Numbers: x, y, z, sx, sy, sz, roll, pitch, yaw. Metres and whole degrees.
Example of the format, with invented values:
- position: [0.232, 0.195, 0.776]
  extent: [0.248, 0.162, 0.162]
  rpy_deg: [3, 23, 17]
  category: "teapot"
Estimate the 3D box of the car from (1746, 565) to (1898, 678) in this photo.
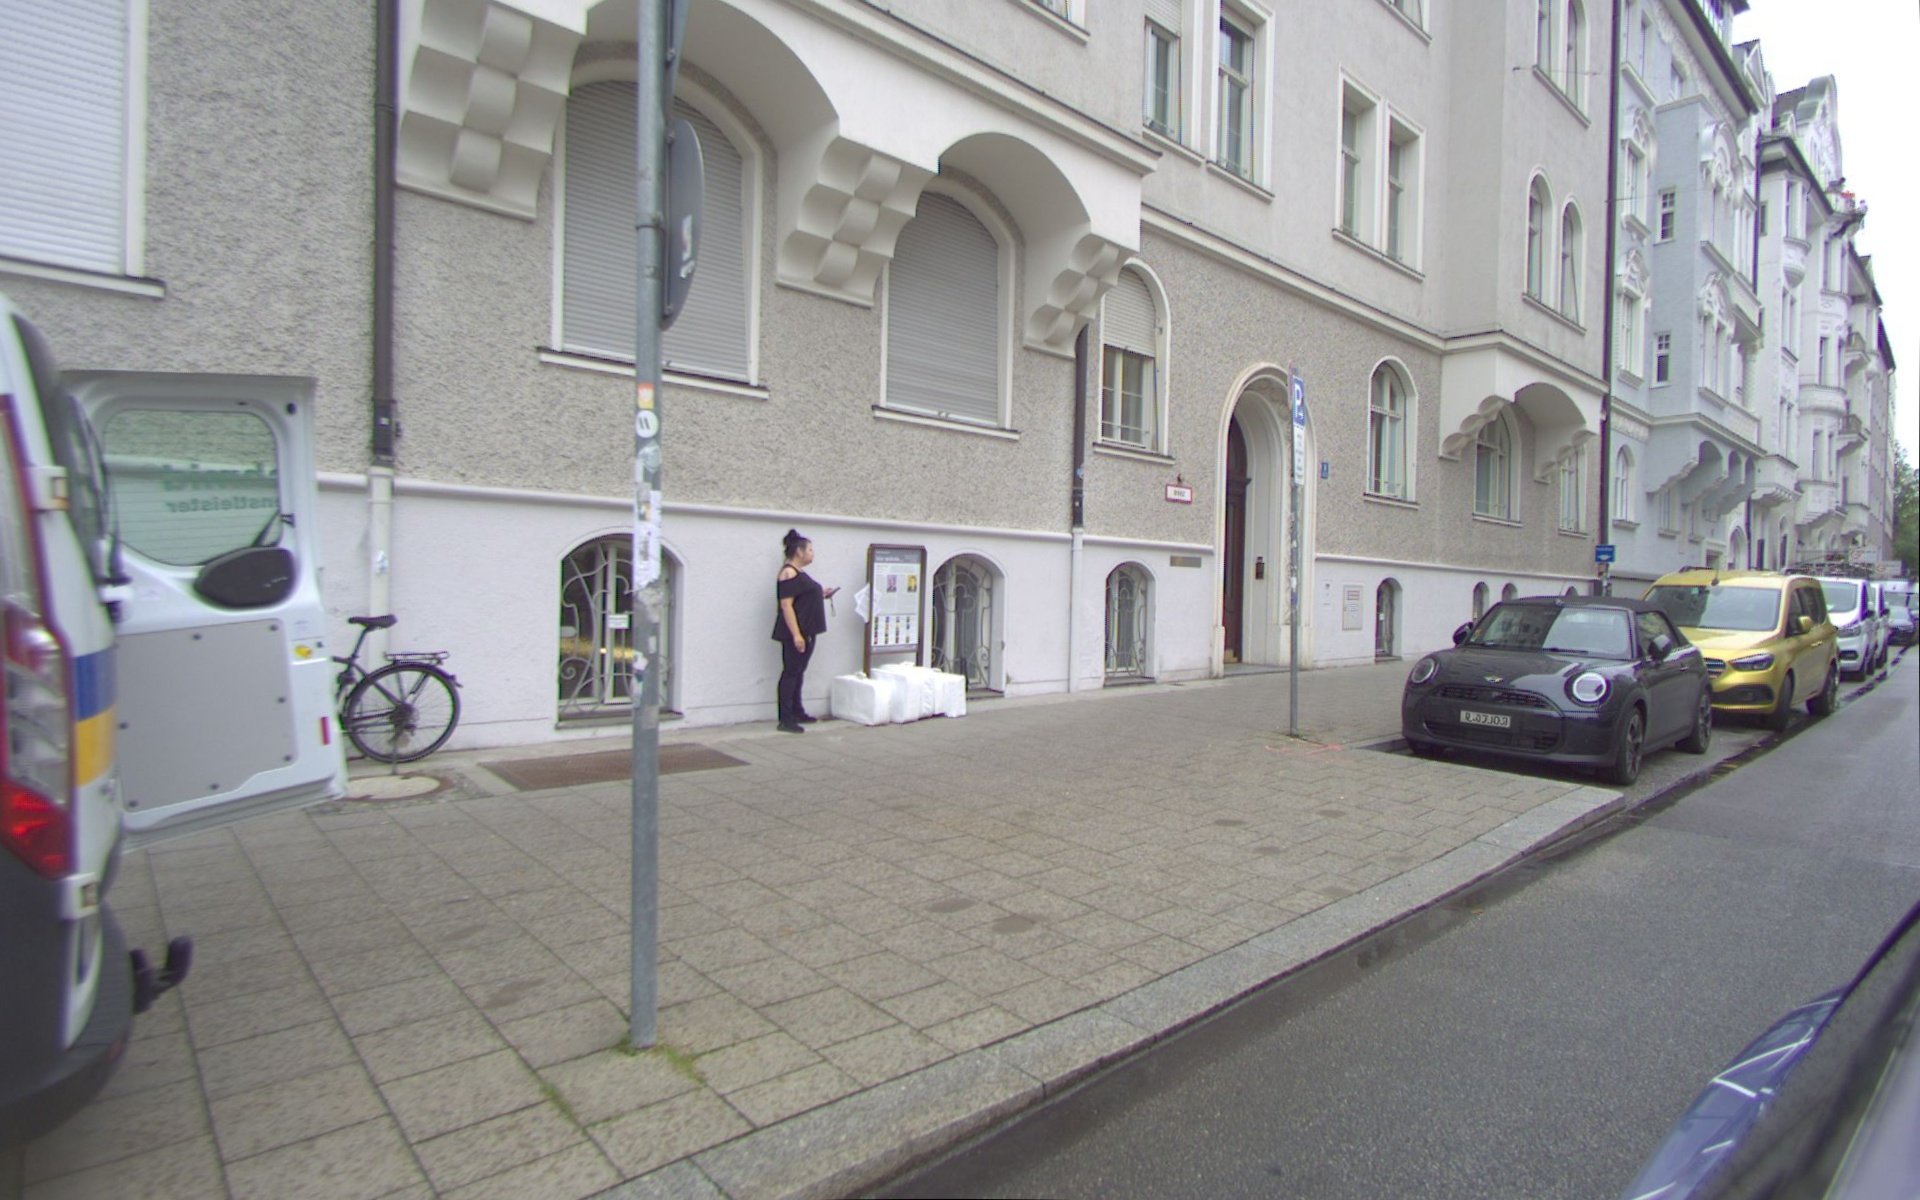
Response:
- position: [17.397, 0.360, 20.335]
  extent: [1.960, 1.961, 4.913]
  rpy_deg: [3, 2, 44]
  category: "car"

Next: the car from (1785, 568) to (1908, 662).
- position: [21.783, 0.315, 24.794]
  extent: [1.960, 2.038, 4.913]
  rpy_deg: [3, 2, 44]
  category: "car"

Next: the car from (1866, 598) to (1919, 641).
- position: [34.956, 0.688, 37.555]
  extent: [1.755, 1.452, 4.021]
  rpy_deg: [3, 2, 45]
  category: "car"

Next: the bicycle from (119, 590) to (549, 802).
- position: [-3.914, 0.522, 6.494]
  extent: [2.244, 1.107, 0.695]
  rpy_deg: [0, 3, -43]
  category: "bicycle"

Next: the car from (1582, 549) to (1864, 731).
- position: [9.658, 0.396, 12.659]
  extent: [4.736, 1.876, 1.854]
  rpy_deg: [0, 1, -41]
  category: "car"

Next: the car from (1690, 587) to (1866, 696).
- position: [13.175, 0.585, 16.230]
  extent: [3.719, 1.502, 1.634]
  rpy_deg: [0, 2, -43]
  category: "car"

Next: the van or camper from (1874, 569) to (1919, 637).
- position: [39.195, 0.109, 41.610]
  extent: [5.368, 2.669, 1.955]
  rpy_deg: [0, 1, -44]
  category: "van or camper"

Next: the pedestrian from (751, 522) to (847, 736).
- position: [-1.386, 0.218, 8.800]
  extent: [0.680, 1.757, 0.736]
  rpy_deg: [2, 4, 2]
  category: "pedestrian"

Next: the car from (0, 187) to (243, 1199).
- position: [-3.744, 0.264, 0.877]
  extent: [4.846, 1.986, 1.917]
  rpy_deg: [0, 2, -45]
  category: "car"

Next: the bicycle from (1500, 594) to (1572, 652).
- position: [12.003, 0.462, 21.059]
  extent: [2.002, 1.107, 0.695]
  rpy_deg: [0, 3, -43]
  category: "bicycle"

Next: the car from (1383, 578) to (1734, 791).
- position: [5.478, 0.593, 9.057]
  extent: [3.830, 1.475, 1.666]
  rpy_deg: [0, 1, -43]
  category: "car"
